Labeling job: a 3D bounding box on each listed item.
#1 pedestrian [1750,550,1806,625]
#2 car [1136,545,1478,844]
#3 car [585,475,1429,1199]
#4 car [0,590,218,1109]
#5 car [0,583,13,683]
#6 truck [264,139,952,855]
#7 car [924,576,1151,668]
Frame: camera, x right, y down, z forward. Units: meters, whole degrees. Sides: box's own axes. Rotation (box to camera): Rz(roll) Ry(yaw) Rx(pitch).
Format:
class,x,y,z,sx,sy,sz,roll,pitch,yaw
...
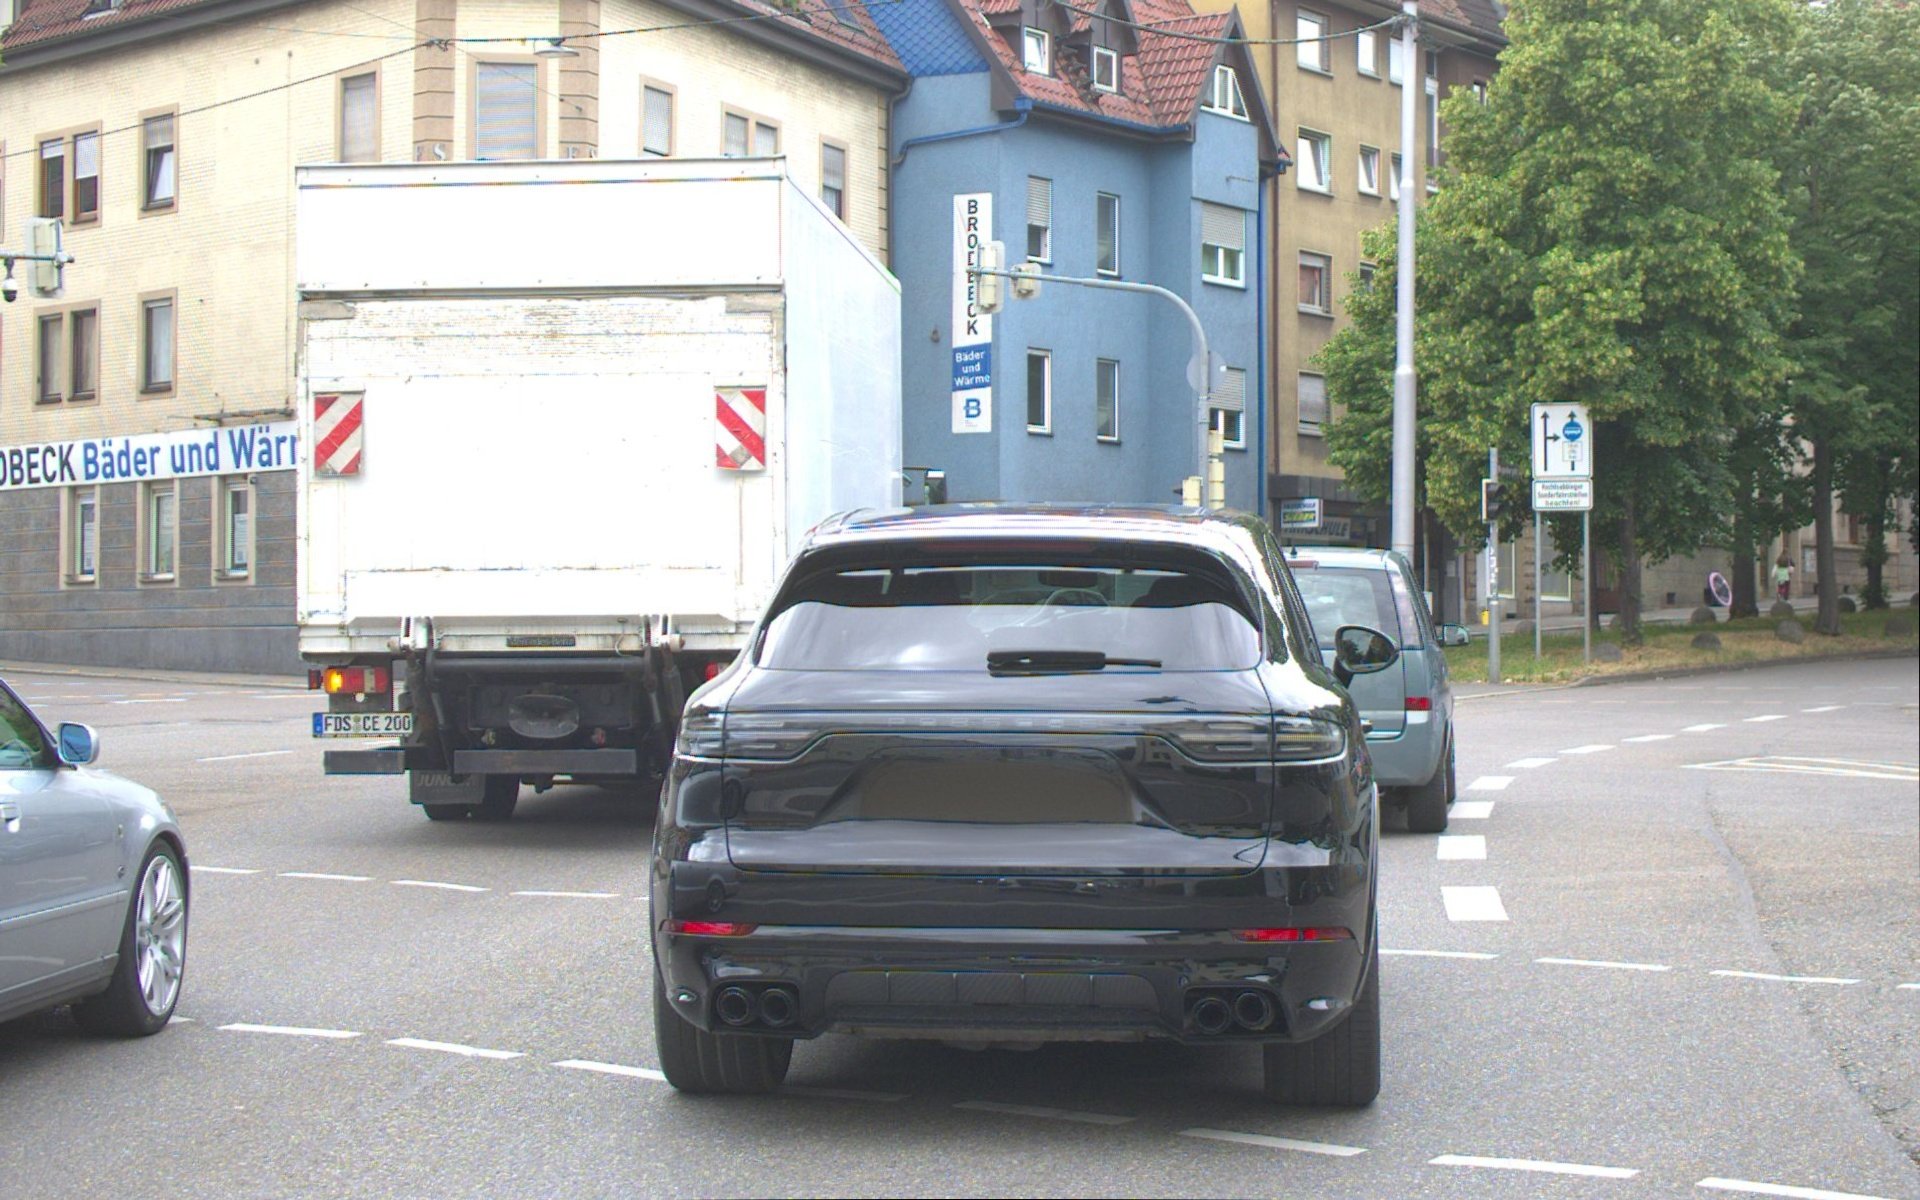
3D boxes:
class,x,y,z,sx,sy,sz,roll,pitch,yaw
pedestrian,22.029,-0.337,92.594,1.194,2.007,0.987,1,1,33
car,2.119,0.510,20.195,1.649,1.550,3.581,2,0,11
car,0.271,0.533,10.734,2.032,1.717,4.499,2,1,4
car,-3.387,0.668,9.186,1.629,1.360,4.128,2,1,4
car,-15.921,0.471,50.812,3.972,1.464,1.876,0,-1,42
truck,-1.797,-0.560,21.524,2.726,3.532,8.420,2,1,4
car,1.341,0.358,57.709,1.720,1.471,4.210,-2,-1,35
